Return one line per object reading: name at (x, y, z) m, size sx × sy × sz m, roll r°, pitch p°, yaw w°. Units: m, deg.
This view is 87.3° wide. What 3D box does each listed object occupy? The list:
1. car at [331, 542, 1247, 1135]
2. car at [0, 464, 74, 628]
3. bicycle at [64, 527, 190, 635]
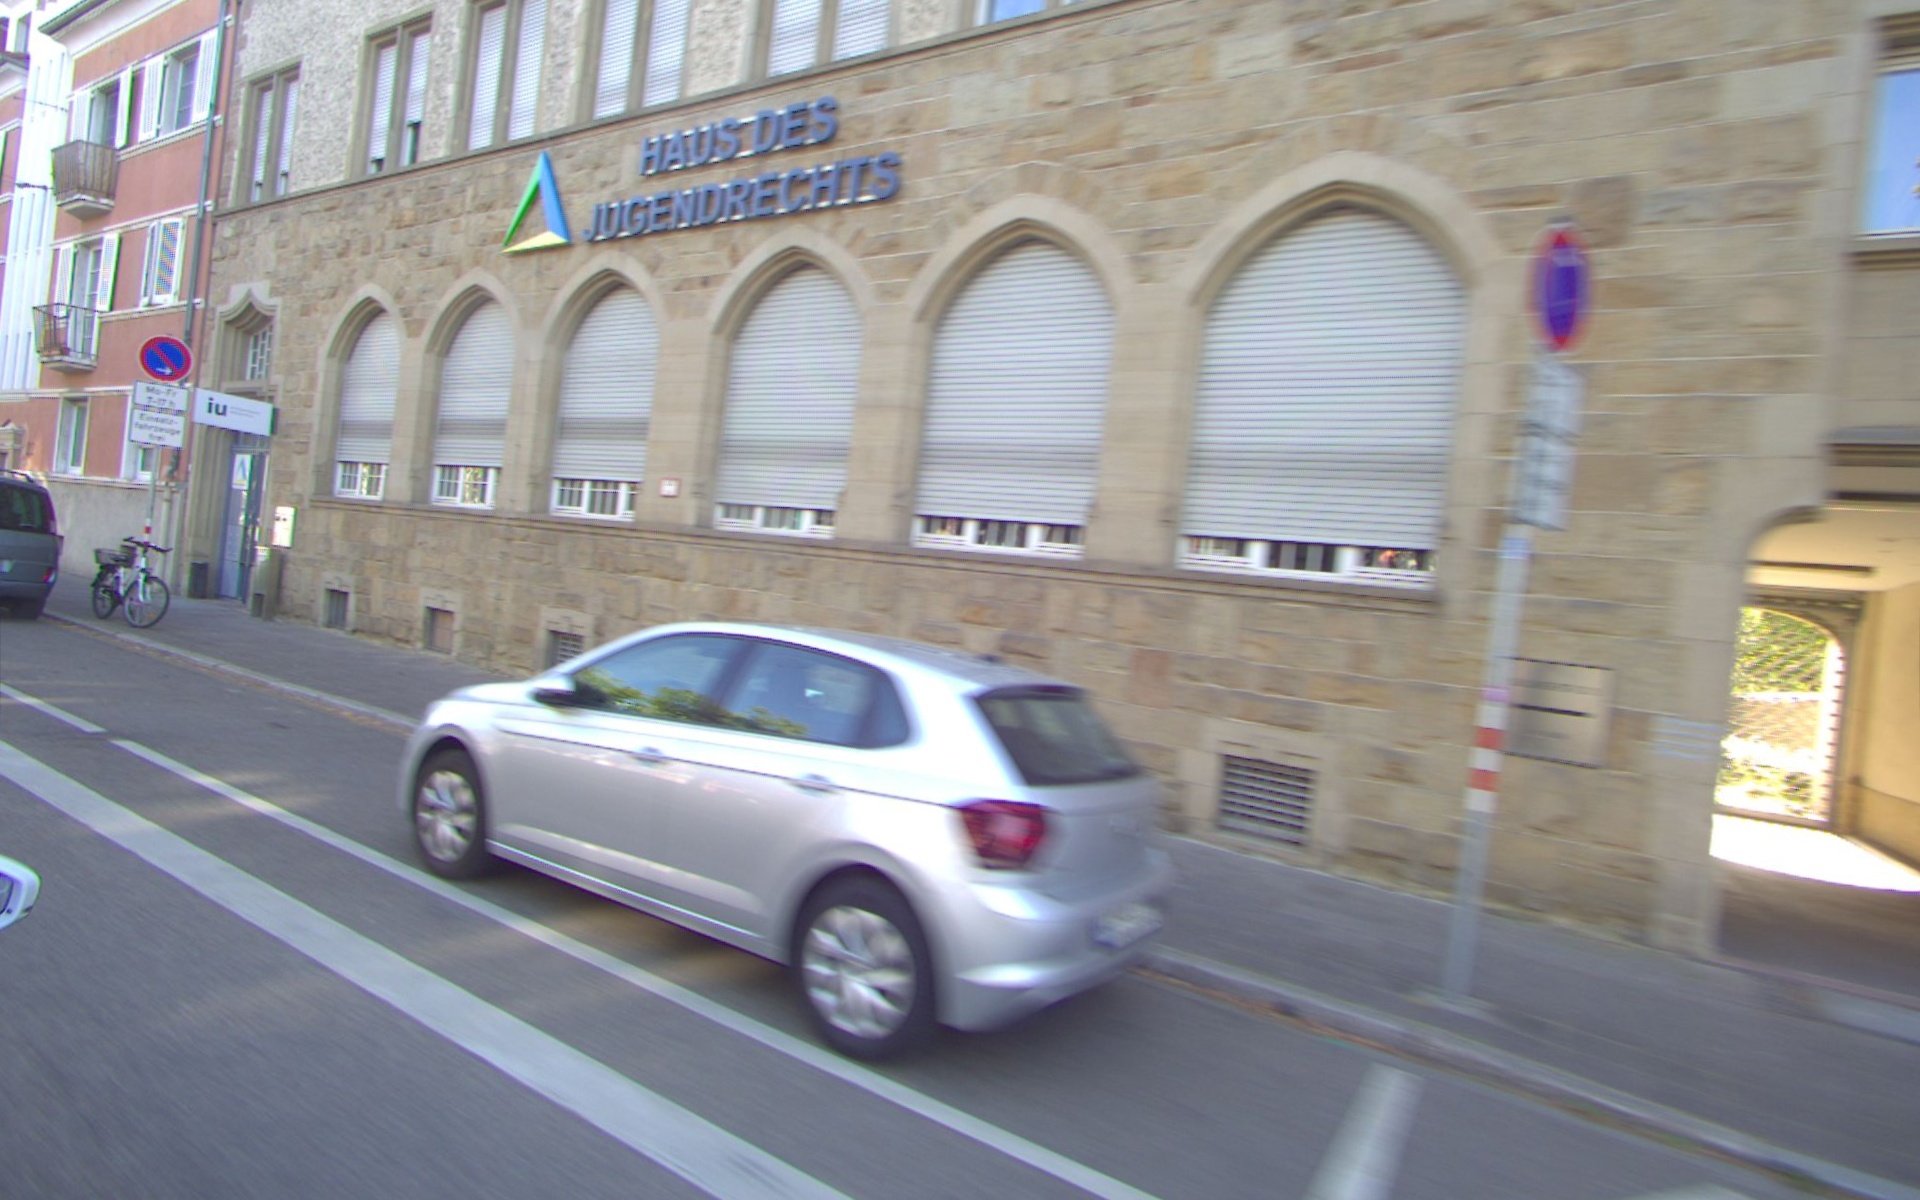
car at (-0.999, 0.746, 4.880) m, size 4.156 × 1.517 × 1.717 m, roll 7°, pitch -2°, yaw 32°
car at (-13.364, -0.905, 12.793) m, size 4.736 × 1.877 × 1.756 m, roll 7°, pitch -1°, yaw 32°
bicycle at (-10.783, -0.262, 12.992) m, size 2.221 × 1.154 × 0.515 m, roll 7°, pitch 2°, yaw 32°
